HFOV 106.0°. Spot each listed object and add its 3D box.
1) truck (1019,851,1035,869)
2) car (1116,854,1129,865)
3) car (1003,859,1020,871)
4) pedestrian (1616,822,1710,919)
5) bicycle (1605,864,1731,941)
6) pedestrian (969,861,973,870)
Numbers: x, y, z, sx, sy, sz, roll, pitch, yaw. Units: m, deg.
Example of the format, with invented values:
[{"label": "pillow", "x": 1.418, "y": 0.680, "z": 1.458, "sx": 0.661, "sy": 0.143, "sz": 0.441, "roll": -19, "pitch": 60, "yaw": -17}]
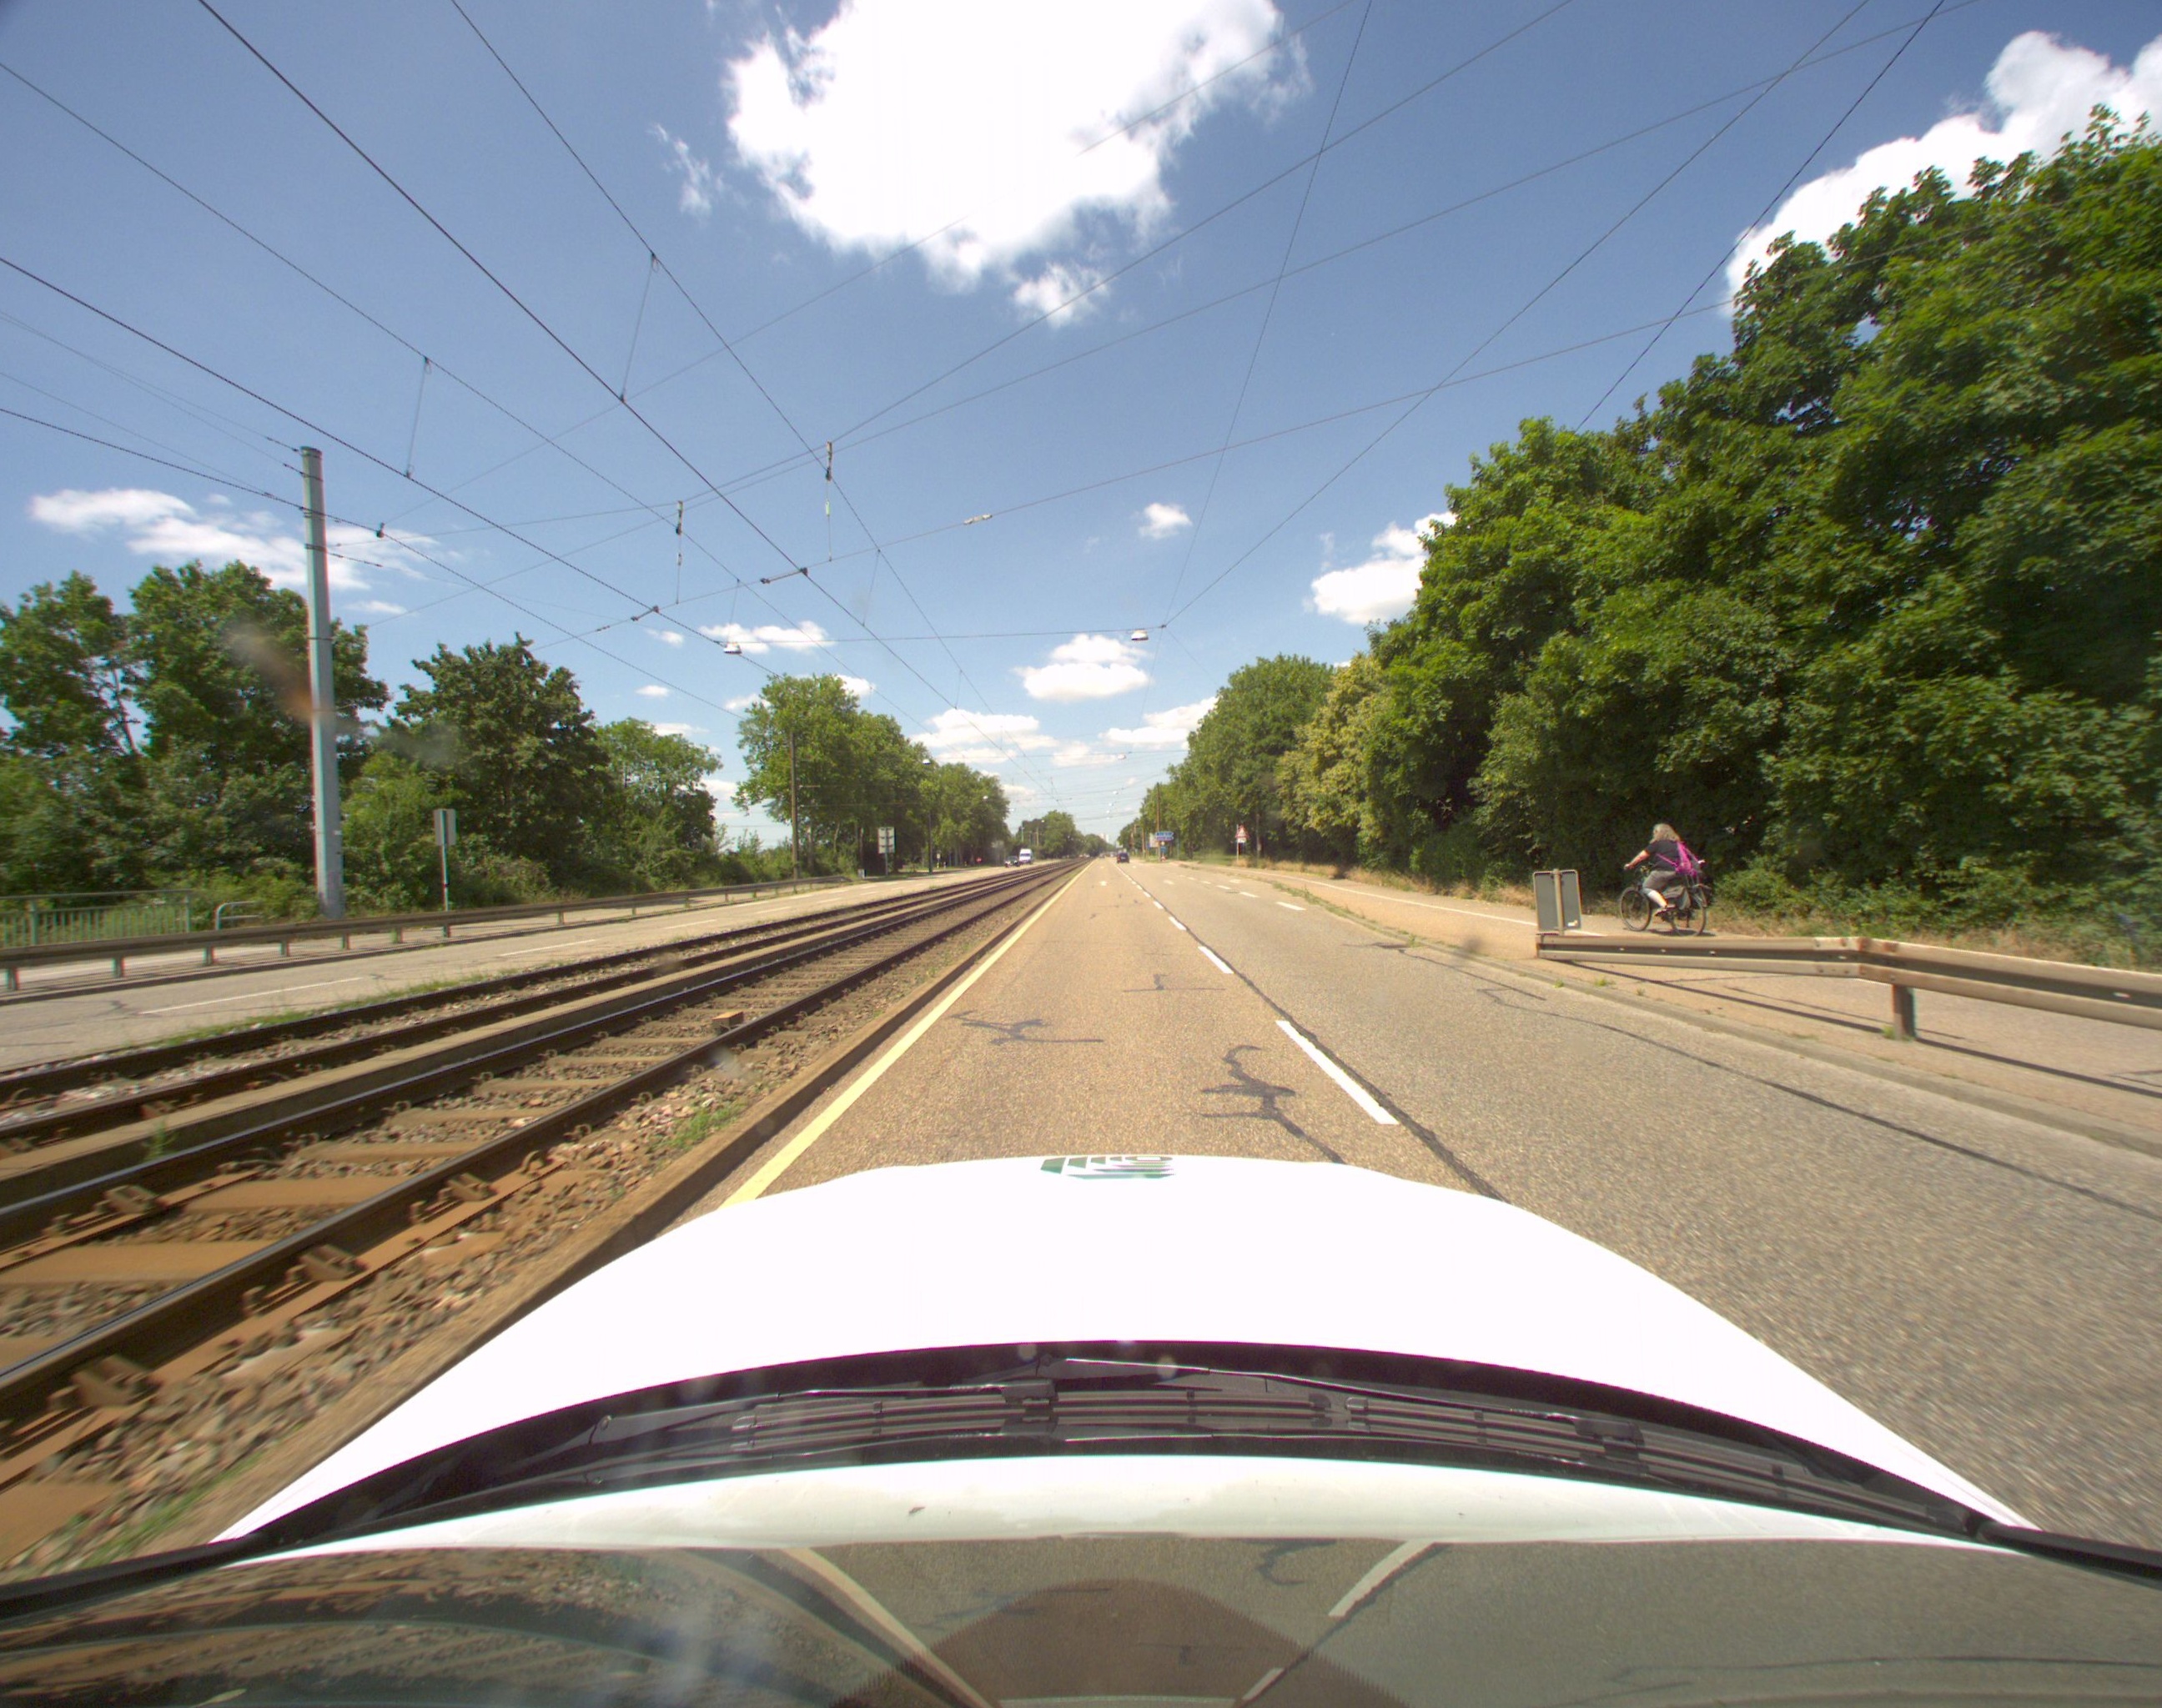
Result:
[{"label": "truck", "x": -9.594, "y": 1.065, "z": 143.980, "sx": 2.046, "sy": 2.938, "sz": 6.322, "roll": -4, "pitch": 0, "yaw": 2}, {"label": "car", "x": 6.029, "y": 0.802, "z": 118.921, "sx": 1.581, "sy": 1.343, "sz": 3.272, "roll": -3, "pitch": 1, "yaw": 0}, {"label": "car", "x": -10.034, "y": 1.552, "z": 117.997, "sx": 1.811, "sy": 1.514, "sz": 4.429, "roll": -3, "pitch": 0, "yaw": 2}, {"label": "pedestrian", "x": 8.713, "y": 0.240, "z": 12.241, "sx": 0.625, "sy": 1.374, "sz": 1.051, "roll": -3, "pitch": 0, "yaw": 2}, {"label": "bicycle", "x": 8.730, "y": 0.688, "z": 12.213, "sx": 0.557, "sy": 1.024, "sz": 1.848, "roll": -3, "pitch": 0, "yaw": 2}, {"label": "pedestrian", "x": -18.038, "y": 1.860, "z": 132.965, "sx": 0.512, "sy": 1.551, "sz": 0.703, "roll": -3, "pitch": 0, "yaw": -4}]
